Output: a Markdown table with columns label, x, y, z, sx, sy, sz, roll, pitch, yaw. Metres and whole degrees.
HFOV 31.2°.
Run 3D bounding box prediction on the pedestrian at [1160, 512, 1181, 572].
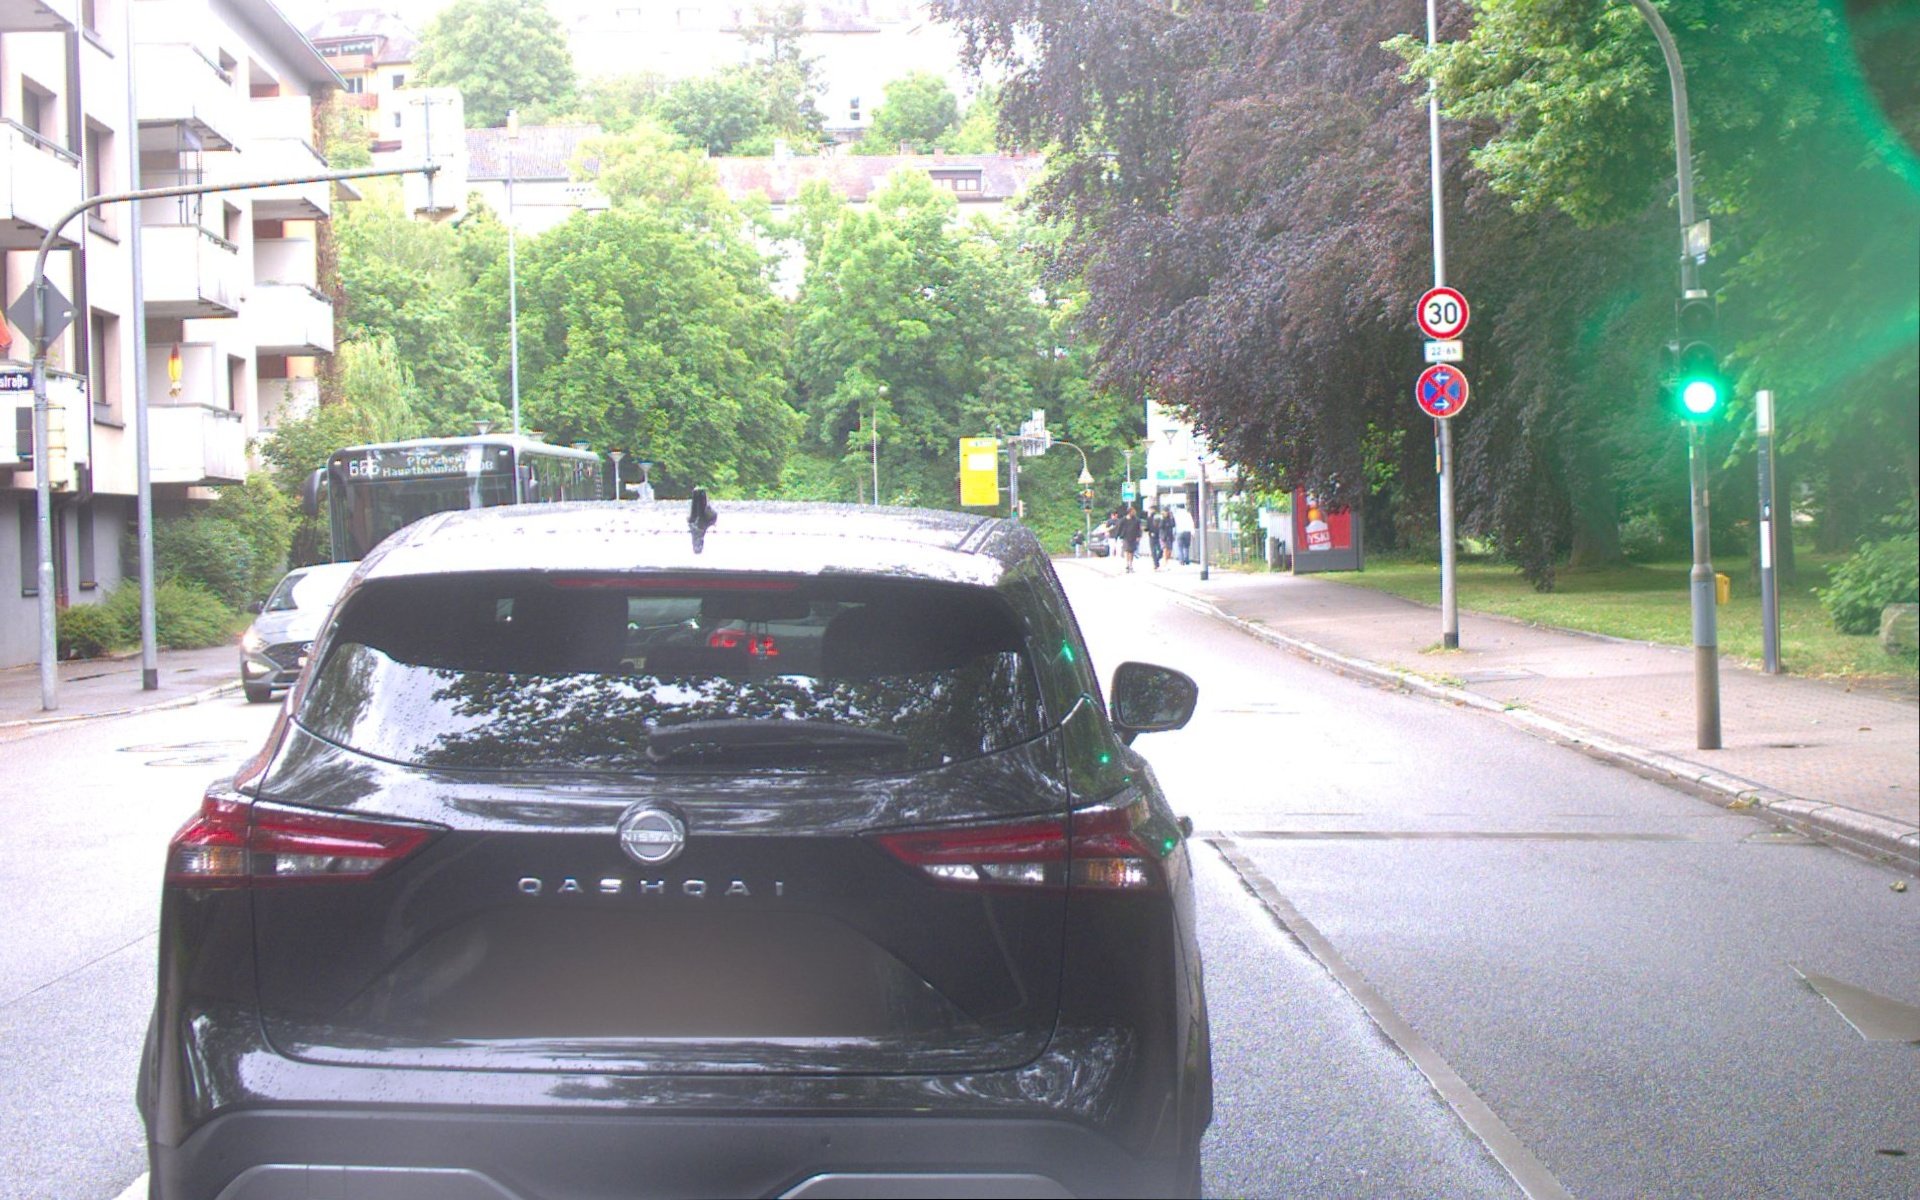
| label | x | y | z | sx | sy | sz | roll | pitch | yaw |
| --- | --- | --- | --- | --- | --- | --- | --- | --- | --- |
| pedestrian | 5.731 | -1.579 | 93.779 | 0.514 | 1.650 | 0.550 | 1 | 0 | -1 |

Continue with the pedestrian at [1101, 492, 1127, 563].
| label | x | y | z | sx | sy | sz | roll | pitch | yaw |
| --- | --- | --- | --- | --- | --- | --- | --- | --- | --- |
| pedestrian | 4.749 | -2.242 | 106.237 | 0.768 | 2.176 | 0.711 | 1 | 0 | 3 |

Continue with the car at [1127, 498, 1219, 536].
| label | x | y | z | sx | sy | sz | roll | pitch | yaw |
| --- | --- | --- | --- | --- | --- | --- | --- | --- | --- |
| car | 10.177 | -3.961 | 164.366 | 3.986 | 1.678 | 2.001 | -2 | 1 | -10 |

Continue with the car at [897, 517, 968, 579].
| label | x | y | z | sx | sy | sz | roll | pitch | yaw |
| --- | --- | --- | --- | --- | --- | --- | --- | --- | --- |
| car | -0.656 | -1.272 | 83.159 | 1.624 | 1.410 | 3.455 | -2 | 1 | 0 |

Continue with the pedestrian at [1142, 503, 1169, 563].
| label | x | y | z | sx | sy | sz | roll | pitch | yaw |
| --- | --- | --- | --- | --- | --- | --- | --- | --- | --- |
| pedestrian | 5.427 | -1.846 | 95.366 | 0.699 | 1.645 | 0.628 | 1 | 0 | 0 |

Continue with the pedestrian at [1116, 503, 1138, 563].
| label | x | y | z | sx | sy | sz | roll | pitch | yaw |
| --- | --- | --- | --- | --- | --- | --- | --- | --- | --- |
| pedestrian | 4.633 | -1.857 | 95.357 | 0.544 | 1.645 | 0.490 | 1 | 0 | 0 |

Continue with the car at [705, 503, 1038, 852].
| label | x | y | z | sx | sy | sz | roll | pitch | yaw |
| --- | --- | --- | --- | --- | --- | --- | --- | --- | --- |
| car | -0.413 | 0.351 | 19.246 | 1.622 | 1.703 | 3.771 | -2 | 1 | 1 |

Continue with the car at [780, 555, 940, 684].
| label | x | y | z | sx | sy | sz | roll | pitch | yaw |
| --- | --- | --- | --- | --- | --- | --- | --- | --- | --- |
| car | -1.198 | 0.192 | 41.031 | 1.808 | 1.412 | 4.031 | 0 | 1 | -2 |

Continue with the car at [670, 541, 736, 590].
| label | x | y | z | sx | sy | sz | roll | pitch | yaw |
| --- | --- | --- | --- | --- | --- | --- | --- | --- | --- |
| car | -7.448 | -1.027 | 99.791 | 1.676 | 1.291 | 3.752 | -3 | 1 | -2 |

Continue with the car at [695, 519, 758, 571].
| label | x | y | z | sx | sy | sz | roll | pitch | yaw |
| --- | --- | --- | --- | --- | --- | --- | --- | --- | --- |
| car | -7.587 | -1.802 | 111.890 | 1.750 | 1.628 | 3.635 | -2 | 1 | 0 |

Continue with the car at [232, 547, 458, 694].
| label | x | y | z | sx | sy | sz | roll | pitch | yaw |
| --- | --- | --- | --- | --- | --- | --- | --- | --- | --- |
| car | -6.734 | 0.188 | 38.010 | 1.808 | 1.412 | 4.031 | -3 | 1 | -2 |

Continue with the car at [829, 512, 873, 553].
| label | x | y | z | sx | sy | sz | roll | pitch | yaw |
| --- | --- | --- | --- | --- | --- | --- | --- | --- | --- |
| car | -4.819 | -3.014 | 152.623 | 1.763 | 1.752 | 3.635 | -2 | 1 | 0 |

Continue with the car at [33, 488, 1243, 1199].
| label | x | y | z | sx | sy | sz | roll | pitch | yaw |
| --- | --- | --- | --- | --- | --- | --- | --- | --- | --- |
| car | -0.510 | 0.616 | 7.176 | 1.806 | 1.584 | 4.000 | 1 | 1 | -1 |

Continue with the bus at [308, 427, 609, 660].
| label | x | y | z | sx | sy | sz | roll | pitch | yaw |
| --- | --- | --- | --- | --- | --- | --- | --- | --- | --- |
| bus | -7.155 | -0.832 | 50.816 | 2.766 | 2.964 | 11.782 | -2 | 1 | -1 |

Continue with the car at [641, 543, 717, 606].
| label | x | y | z | sx | sy | sz | roll | pitch | yaw |
| --- | --- | --- | --- | --- | --- | --- | --- | --- | --- |
| car | -7.196 | -0.670 | 88.332 | 1.676 | 1.464 | 4.217 | -3 | 1 | -2 |

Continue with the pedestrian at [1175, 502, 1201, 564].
| label | x | y | z | sx | sy | sz | roll | pitch | yaw |
| --- | --- | --- | --- | --- | --- | --- | --- | --- | --- |
| pedestrian | 6.588 | -1.937 | 99.497 | 0.618 | 1.773 | 0.778 | -2 | 1 | -1 |

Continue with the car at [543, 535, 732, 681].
| label | x | y | z | sx | sy | sz | roll | pitch | yaw |
| --- | --- | --- | --- | --- | --- | --- | --- | --- | --- |
| car | -3.381 | 0.048 | 36.535 | 1.624 | 1.410 | 3.455 | -2 | 1 | 0 |
